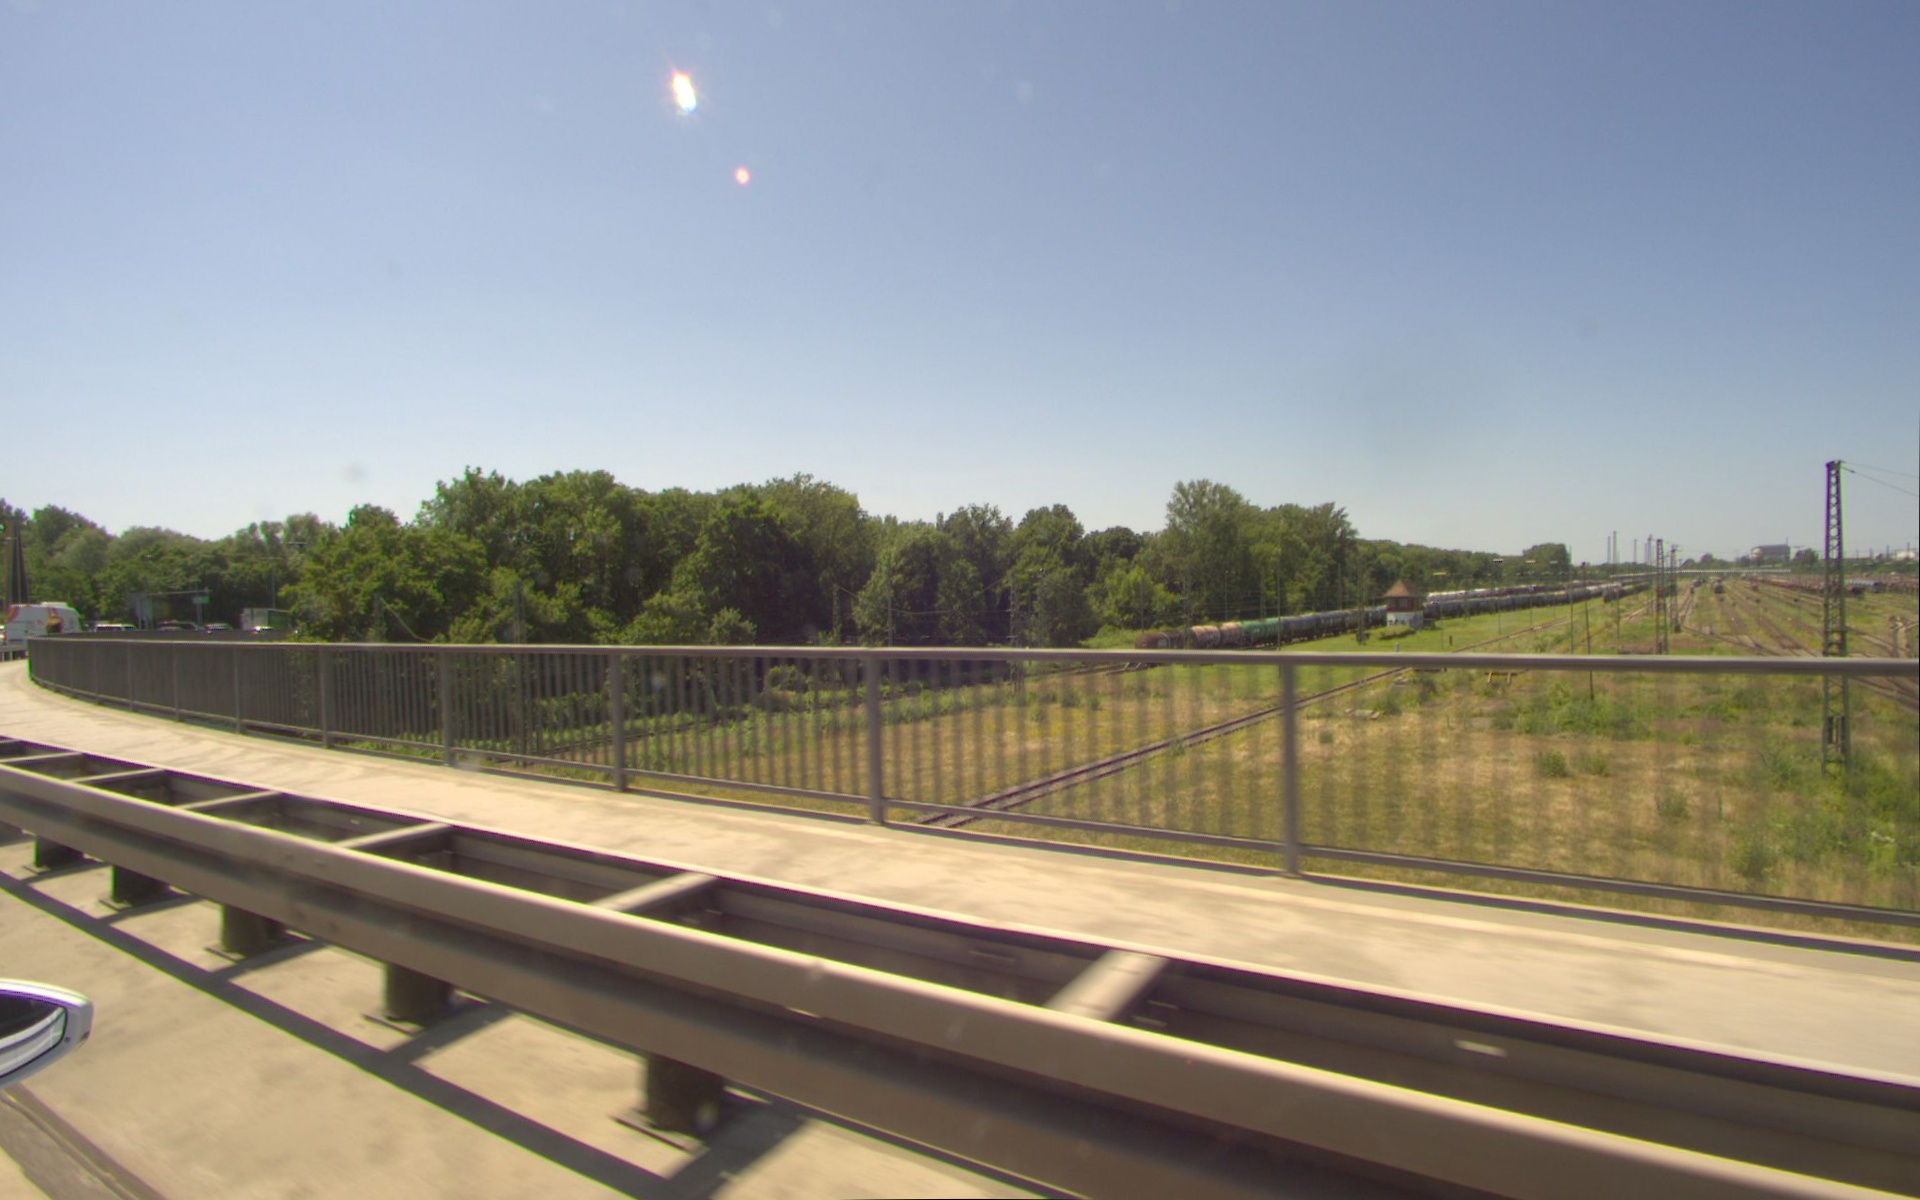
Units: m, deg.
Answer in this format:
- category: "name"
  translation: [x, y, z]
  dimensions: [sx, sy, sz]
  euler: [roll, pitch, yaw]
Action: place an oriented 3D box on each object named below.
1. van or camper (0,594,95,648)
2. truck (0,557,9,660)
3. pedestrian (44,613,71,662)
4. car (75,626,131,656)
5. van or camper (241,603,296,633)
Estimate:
- category: "van or camper"
  translation: [-49.653, 1.148, 54.616]
  dimensions: [2.175, 2.746, 5.904]
  euler: [0, -1, -24]
- category: "truck"
  translation: [-43.476, 0.310, 42.714]
  dimensions: [3.140, 4.643, 7.348]
  euler: [1, -2, -35]
- category: "pedestrian"
  translation: [-37.251, 1.551, 41.335]
  dimensions: [0.730, 1.992, 0.729]
  euler: [1, -2, -36]
- category: "car"
  translation: [-54.474, 2.605, 63.733]
  dimensions: [1.866, 1.873, 3.984]
  euler: [1, -2, -28]
- category: "van or camper"
  translation: [-68.006, 1.810, 98.610]
  dimensions: [2.447, 2.318, 4.963]
  euler: [5, -6, -10]
